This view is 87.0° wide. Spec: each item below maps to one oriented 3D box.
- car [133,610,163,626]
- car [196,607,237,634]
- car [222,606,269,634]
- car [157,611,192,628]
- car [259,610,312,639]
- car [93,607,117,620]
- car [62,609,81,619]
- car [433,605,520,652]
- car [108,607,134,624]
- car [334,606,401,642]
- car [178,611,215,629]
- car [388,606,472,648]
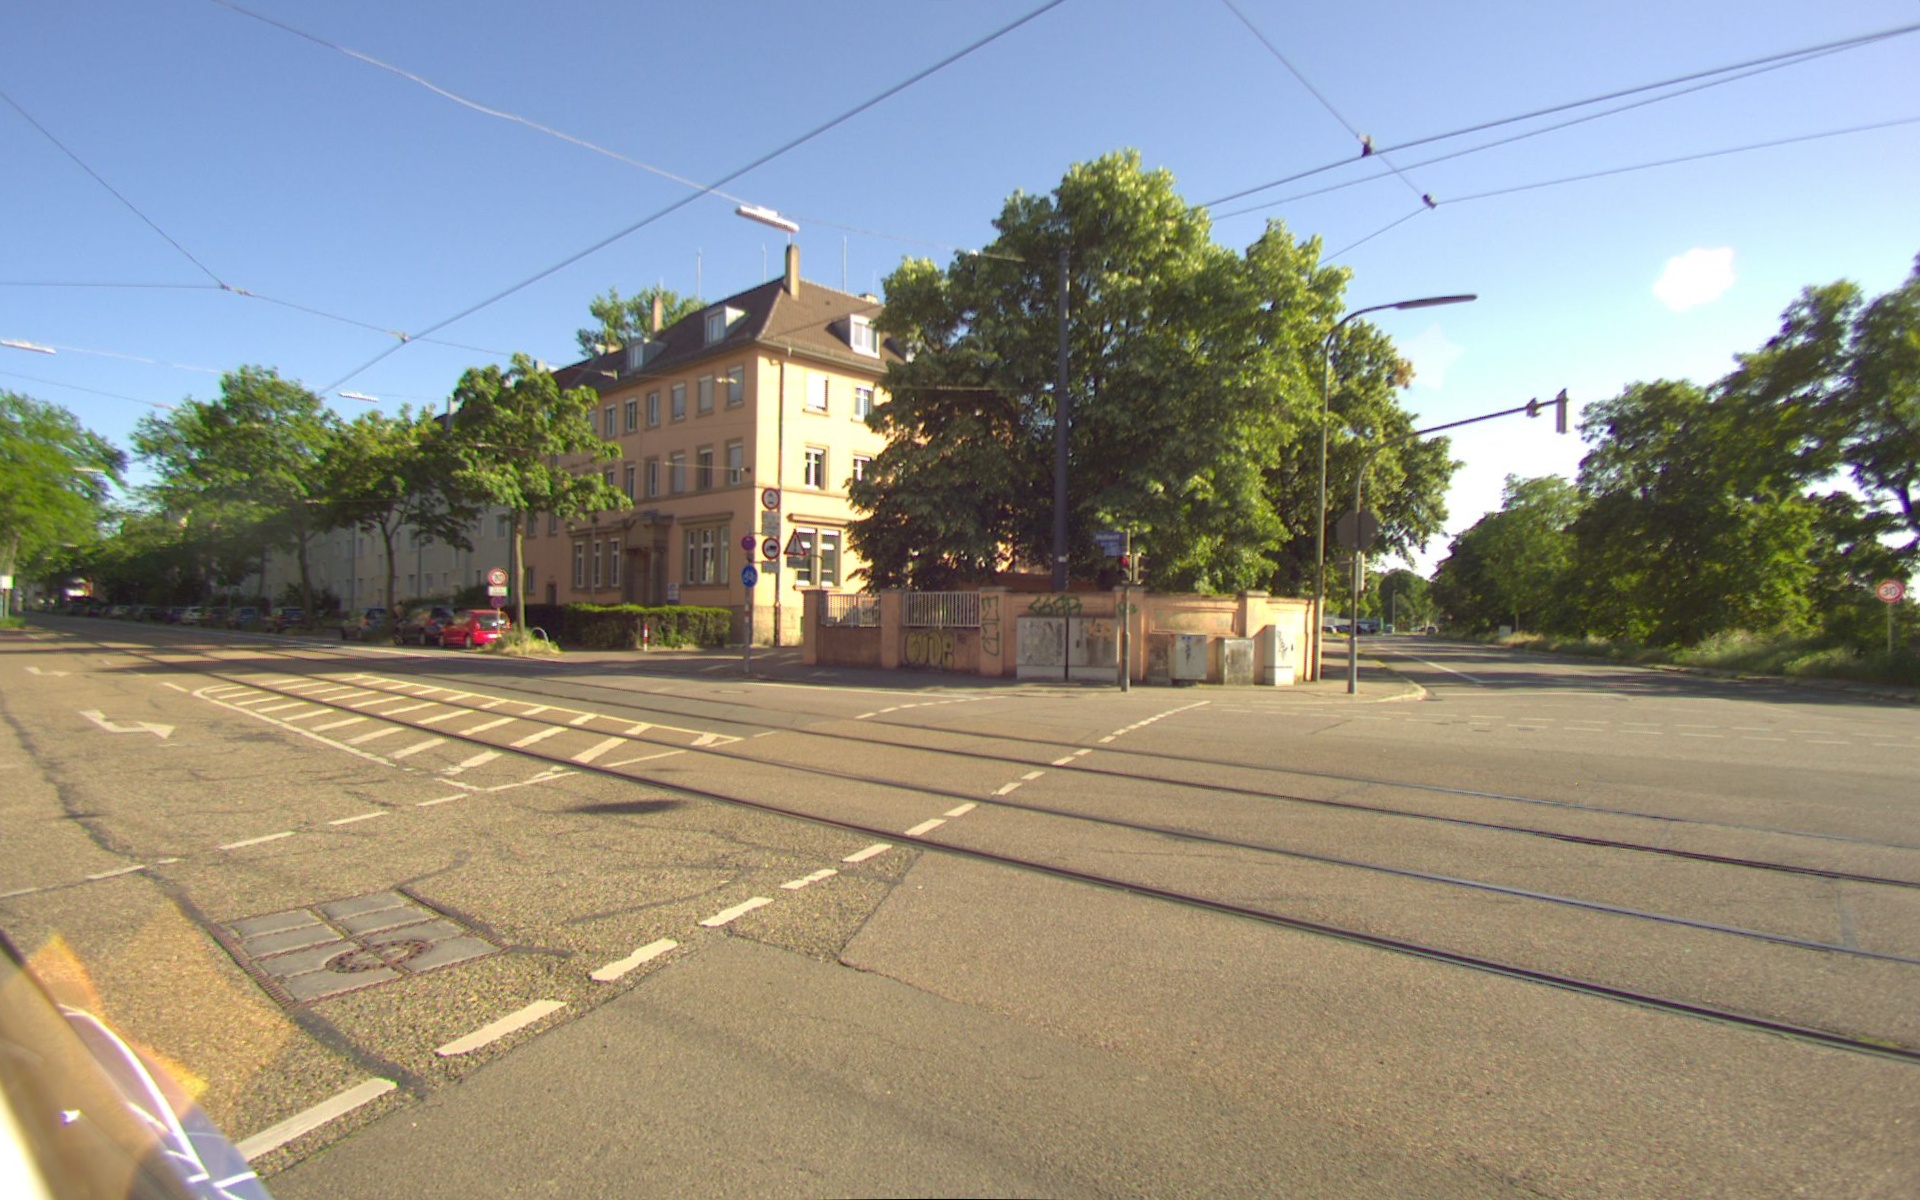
[{"bbox_3d":[-79.578,1.758,99.179,3.630,1.430,1.791,0,-2,43],"label":"car"},{"bbox_3d":[-54.574,1.480,74.270,3.630,1.955,1.791,0,-2,43],"label":"car"},{"bbox_3d":[-48.094,1.346,68.091,3.796,1.839,1.791,0,-2,43],"label":"car"},{"bbox_3d":[-67.673,1.671,87.218,3.630,1.430,1.791,0,-2,43],"label":"car"},{"bbox_3d":[-39.748,1.425,59.605,3.630,1.611,1.791,0,-2,43],"label":"car"},{"bbox_3d":[-104.635,1.652,123.857,3.630,1.534,1.791,0,-2,43],"label":"car"},{"bbox_3d":[-136.249,2.148,155.135,3.630,1.430,1.791,0,-2,43],"label":"car"},{"bbox_3d":[-18.569,1.058,38.816,3.373,1.719,1.792,0,-2,41],"label":"car"},{"bbox_3d":[-96.117,1.767,115.904,3.630,1.792,1.791,0,-2,43],"label":"car"},{"bbox_3d":[-28.215,1.128,48.158,1.790,1.671,3.879,2,-2,-45],"label":"car"},{"bbox_3d":[-61.188,1.603,81.079,3.630,1.430,1.791,0,-2,43],"label":"car"},{"bbox_3d":[-21.968,1.086,41.878,3.818,1.671,1.792,0,-2,41],"label":"car"}]
